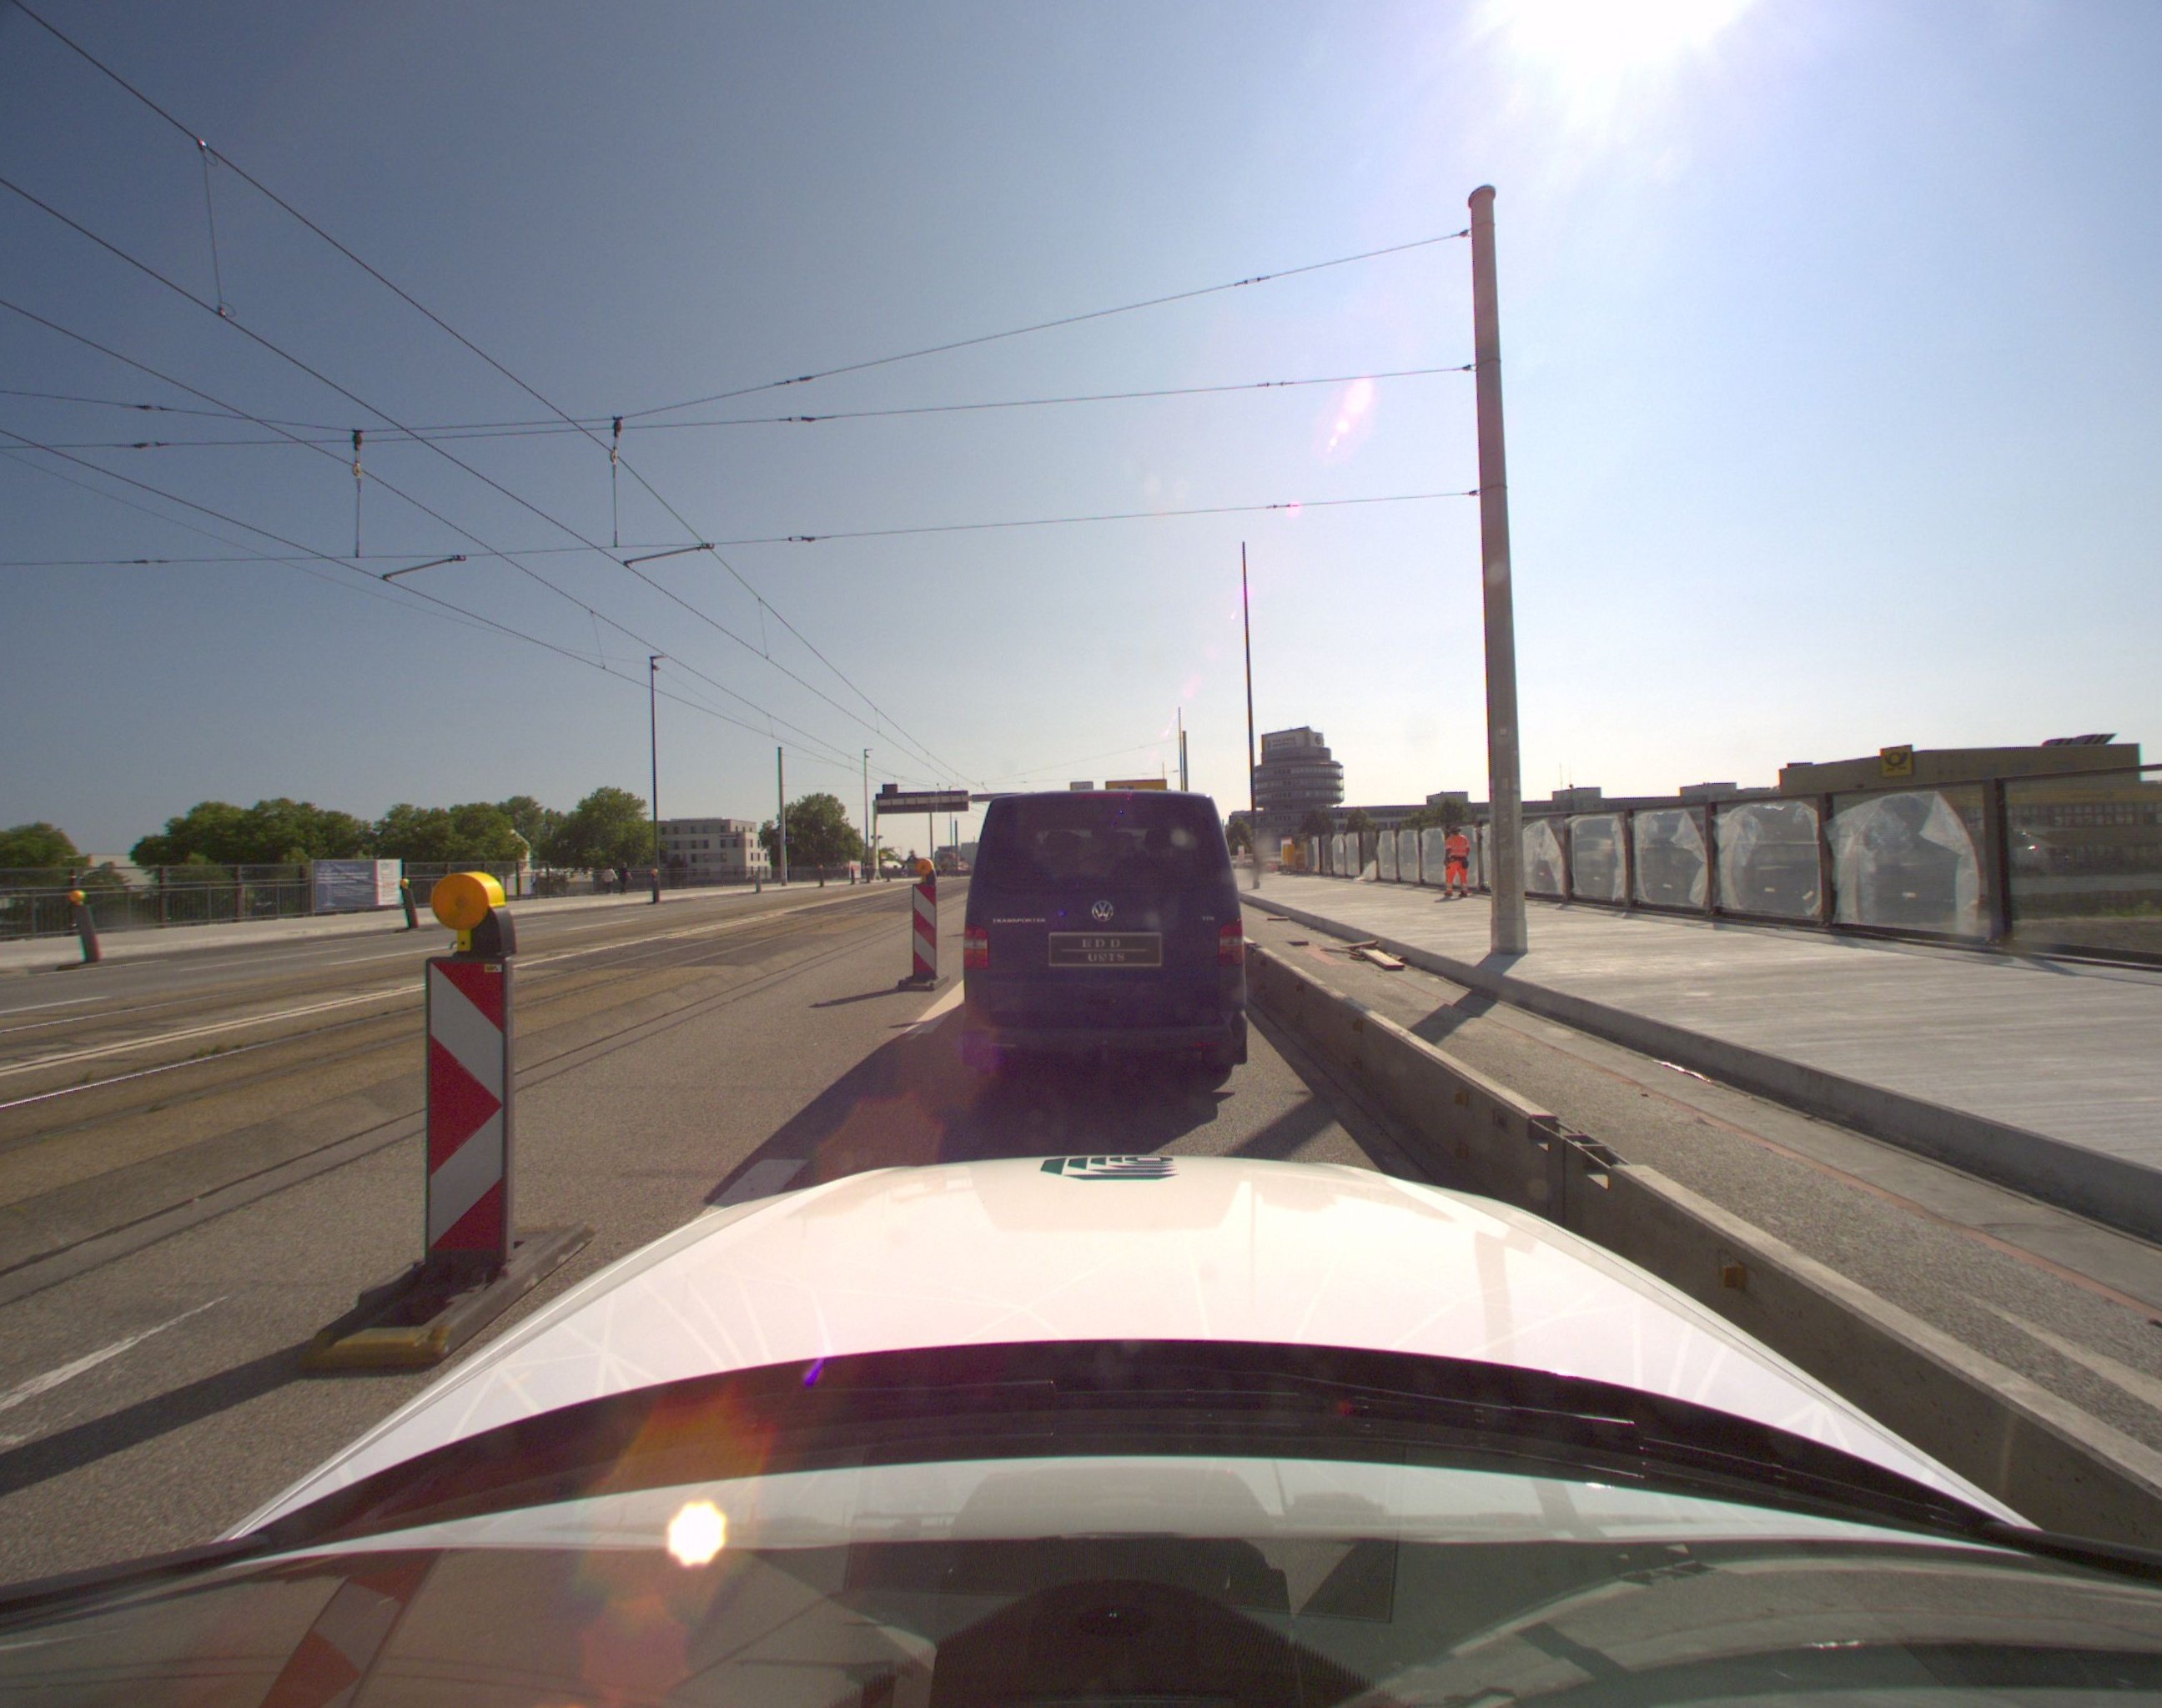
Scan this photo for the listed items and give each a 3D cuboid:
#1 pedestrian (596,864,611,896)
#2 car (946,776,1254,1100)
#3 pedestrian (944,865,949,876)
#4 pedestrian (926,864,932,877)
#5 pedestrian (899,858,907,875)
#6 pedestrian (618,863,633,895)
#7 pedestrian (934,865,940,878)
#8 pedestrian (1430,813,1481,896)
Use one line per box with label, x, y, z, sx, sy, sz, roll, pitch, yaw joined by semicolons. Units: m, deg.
pedestrian;-25.330;1.368;43.182;0.493;1.694;0.474;-1;-1;1
car;0.149;0.497;6.935;1.809;1.905;4.055;-1;0;1
pedestrian;-19.434;2.395;117.482;0.631;1.598;0.752;-1;0;1
pedestrian;-21.421;2.353;114.878;0.632;1.752;0.752;-1;0;1
pedestrian;-19.975;1.410;91.396;0.631;1.893;0.752;-1;0;1
pedestrian;-24.195;1.333;43.254;0.493;1.694;0.474;-1;-1;1
pedestrian;-20.539;2.446;115.893;0.631;1.774;0.752;-1;0;1
pedestrian;9.042;0.012;19.693;0.779;1.935;0.800;-3;-1;1
